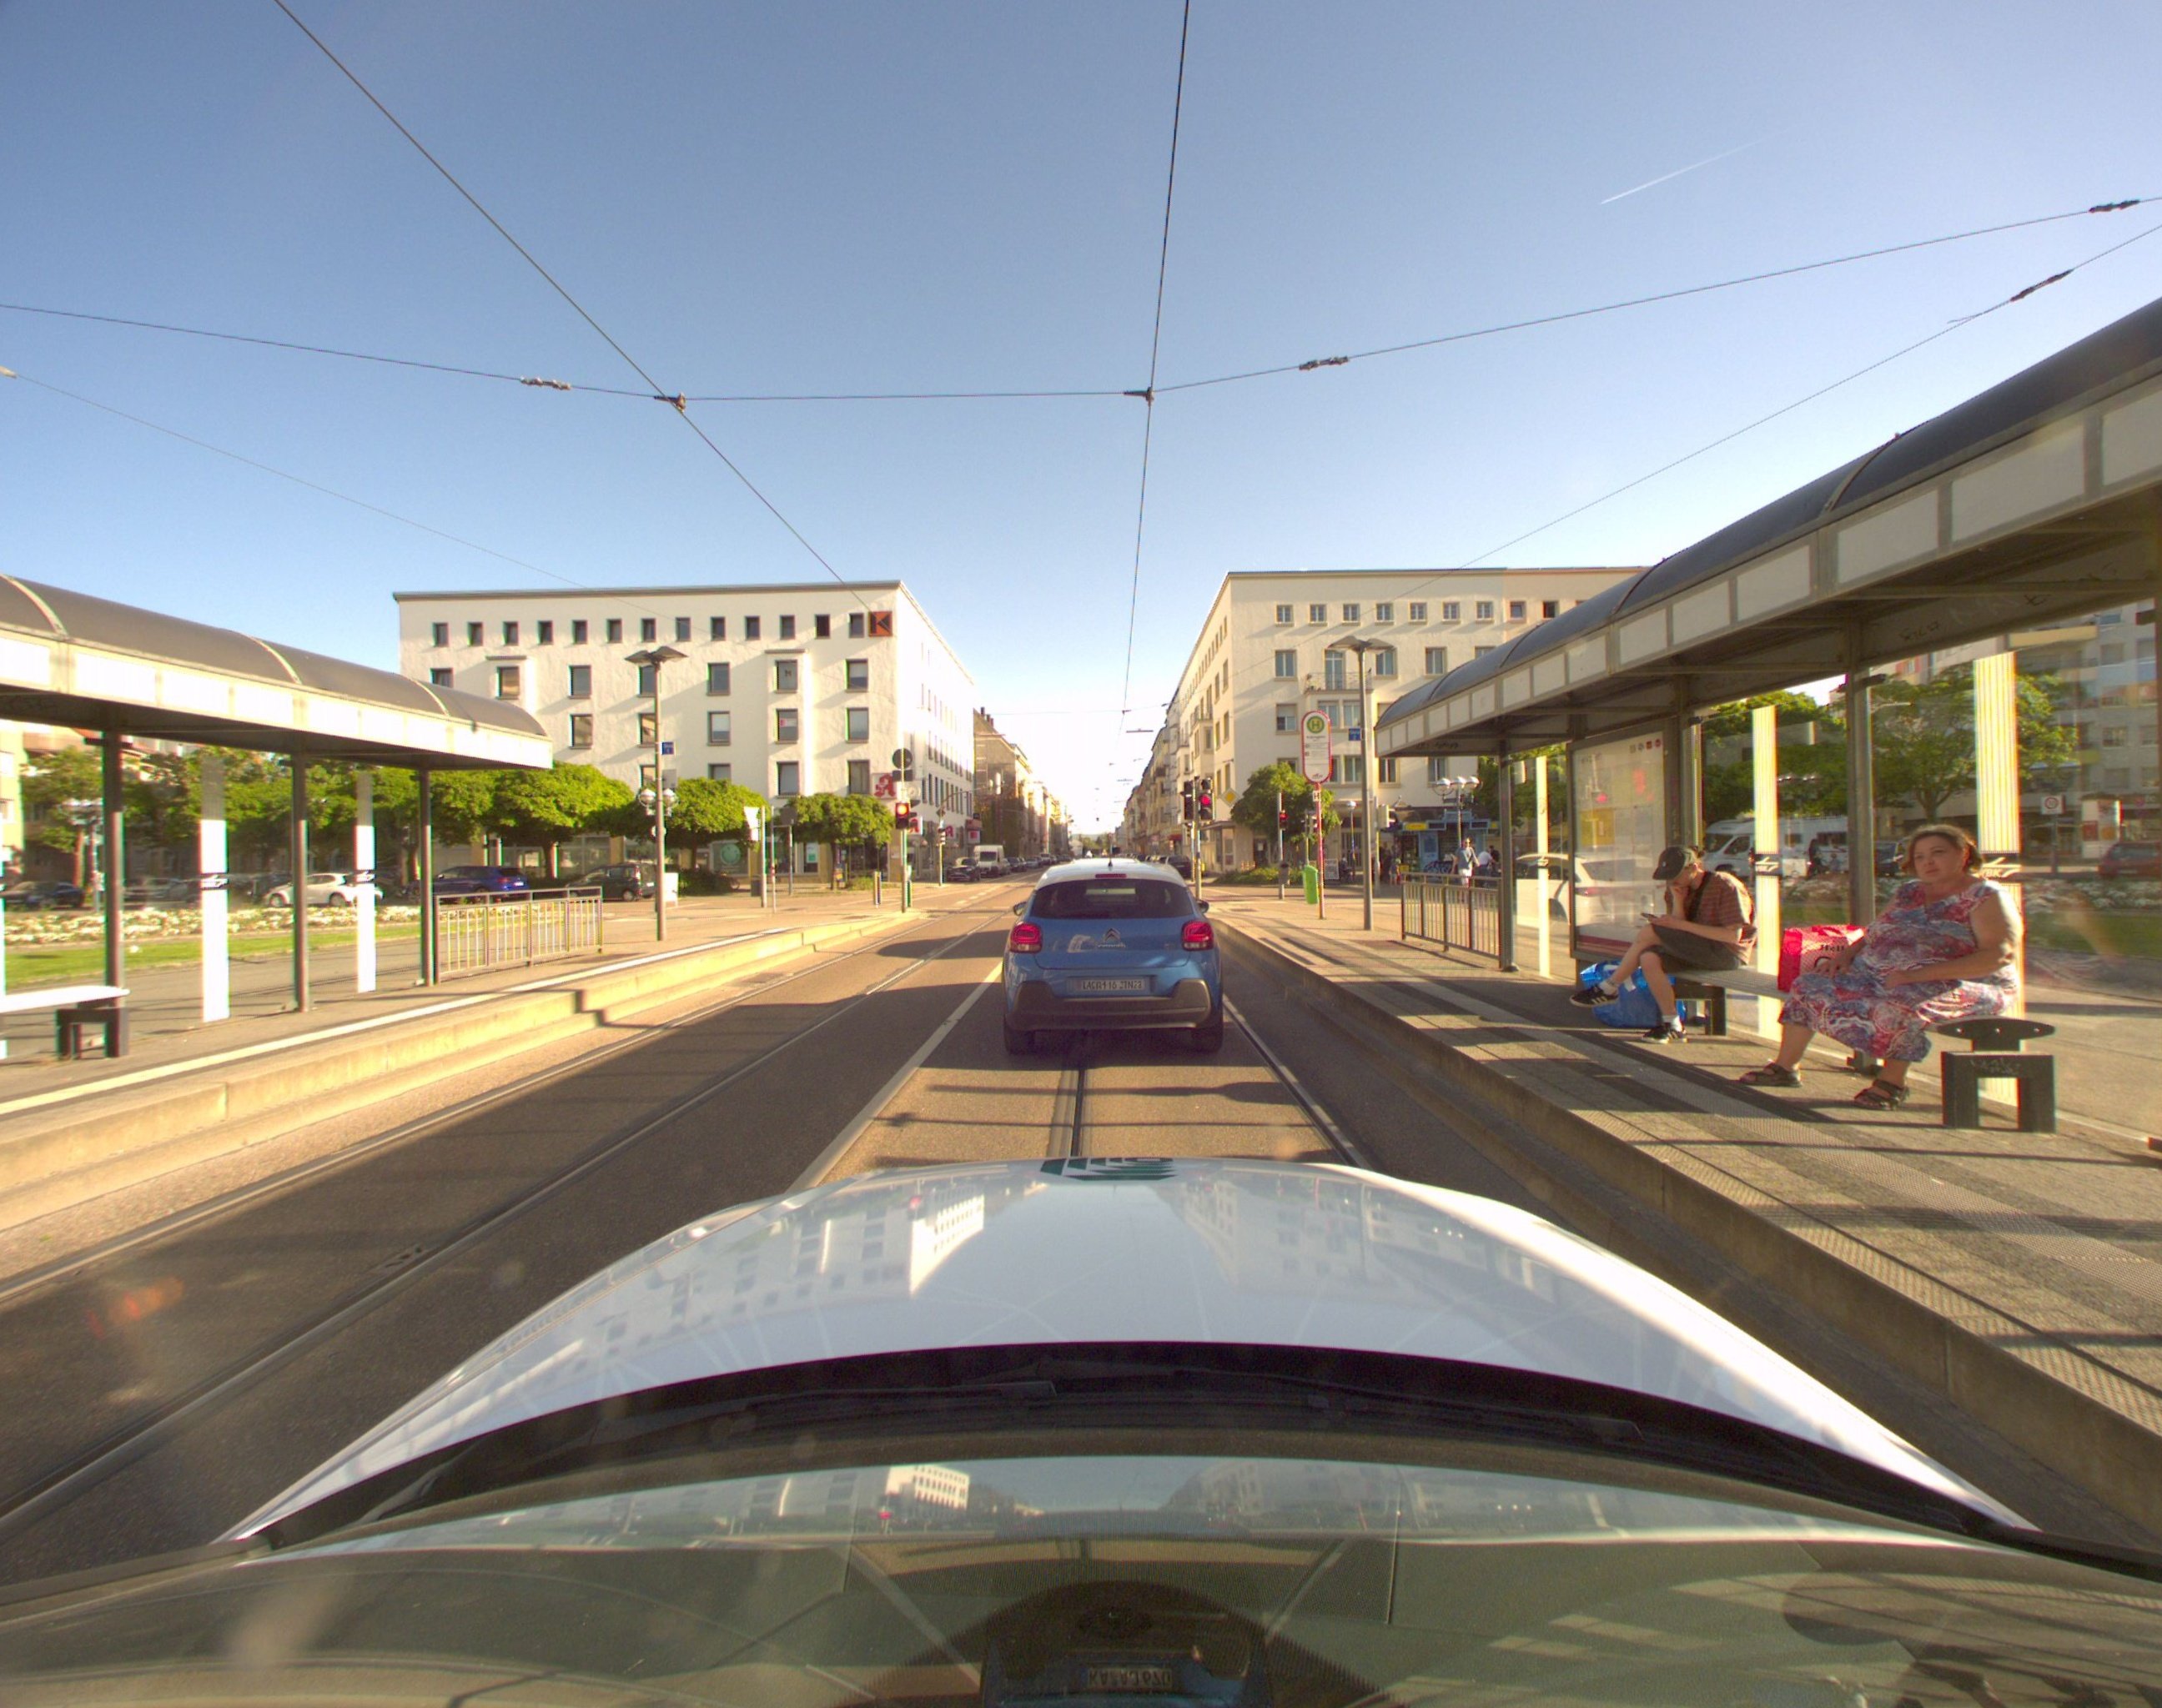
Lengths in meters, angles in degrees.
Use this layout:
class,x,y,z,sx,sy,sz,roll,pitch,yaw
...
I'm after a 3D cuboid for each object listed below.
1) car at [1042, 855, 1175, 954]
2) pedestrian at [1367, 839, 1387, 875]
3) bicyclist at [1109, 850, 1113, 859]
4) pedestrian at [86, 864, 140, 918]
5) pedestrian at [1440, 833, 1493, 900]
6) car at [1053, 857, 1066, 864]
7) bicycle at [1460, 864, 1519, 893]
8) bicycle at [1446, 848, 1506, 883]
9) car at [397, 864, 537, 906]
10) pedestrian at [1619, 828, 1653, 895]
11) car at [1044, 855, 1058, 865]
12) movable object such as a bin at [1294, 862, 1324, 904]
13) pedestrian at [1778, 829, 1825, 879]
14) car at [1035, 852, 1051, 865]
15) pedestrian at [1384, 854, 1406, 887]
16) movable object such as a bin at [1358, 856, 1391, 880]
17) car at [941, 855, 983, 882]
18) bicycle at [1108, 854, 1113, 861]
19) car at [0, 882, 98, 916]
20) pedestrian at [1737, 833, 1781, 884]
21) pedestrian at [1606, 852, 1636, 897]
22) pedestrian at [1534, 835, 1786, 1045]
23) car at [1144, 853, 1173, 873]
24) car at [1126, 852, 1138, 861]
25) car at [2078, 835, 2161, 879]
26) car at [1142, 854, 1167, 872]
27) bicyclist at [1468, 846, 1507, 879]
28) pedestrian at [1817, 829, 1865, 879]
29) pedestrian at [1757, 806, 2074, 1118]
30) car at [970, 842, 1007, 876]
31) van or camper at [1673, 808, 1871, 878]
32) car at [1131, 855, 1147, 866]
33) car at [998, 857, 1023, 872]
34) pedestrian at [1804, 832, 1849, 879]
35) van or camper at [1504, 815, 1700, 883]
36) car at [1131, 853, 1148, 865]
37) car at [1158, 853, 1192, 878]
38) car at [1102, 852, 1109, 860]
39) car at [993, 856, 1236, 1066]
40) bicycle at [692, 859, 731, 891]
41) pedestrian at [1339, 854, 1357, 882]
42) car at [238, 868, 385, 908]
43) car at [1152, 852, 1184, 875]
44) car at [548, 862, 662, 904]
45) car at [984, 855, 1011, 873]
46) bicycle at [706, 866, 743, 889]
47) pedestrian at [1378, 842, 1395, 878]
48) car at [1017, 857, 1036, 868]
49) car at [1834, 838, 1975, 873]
class,x,y,z,sx,sy,sz,roll,pitch,yaw
car,0.479,0.759,14.563,1.977,1.464,4.817,0,0,2
pedestrian,15.326,0.164,42.221,0.781,1.839,0.679,-1,0,5
bicyclist,6.075,0.102,166.779,0.806,2.014,0.923,0,-1,1
pedestrian,-33.931,1.284,28.559,0.938,1.817,0.872,-1,0,13
pedestrian,11.229,0.369,23.763,0.978,1.878,1.128,-1,-1,-1
car,-4.066,1.195,154.255,1.986,1.156,4.002,-1,0,2
bicycle,15.341,0.908,30.581,2.327,1.061,0.715,0,0,-26
bicycle,17.723,0.521,36.575,2.376,1.531,0.726,1,0,0
car,-27.182,1.352,36.172,4.591,1.662,1.999,-1,0,-1
pedestrian,14.741,0.202,21.635,0.554,1.745,0.528,0,-1,12
car,-5.100,1.004,136.976,1.946,1.552,3.942,0,-1,4
movable object such as a bin,4.356,0.547,15.557,0.447,0.786,0.489,-1,0,4
pedestrian,23.423,-0.001,26.486,0.897,1.585,0.663,-1,0,5
car,-5.870,0.712,127.103,1.997,2.014,4.694,0,-1,4
pedestrian,14.034,0.738,36.391,0.727,1.409,0.755,-1,3,2
movable object such as a bin,14.436,0.667,40.047,1.194,1.153,1.218,-1,0,2
car,-7.650,0.918,52.756,1.987,1.569,4.403,2,-1,1
bicycle,6.106,0.674,166.860,0.916,1.389,3.133,-1,0,2
car,-52.303,2.234,41.076,1.925,1.494,4.314,0,-1,-27
pedestrian,23.181,0.147,27.856,0.897,1.685,0.696,-1,0,5
pedestrian,14.098,0.536,21.272,0.466,1.169,0.559,0,-1,10
pedestrian,3.723,0.519,5.335,0.995,1.225,0.923,2,-1,1
car,5.951,0.690,62.953,1.986,1.501,4.002,-1,0,2
car,8.336,0.448,133.248,1.986,1.464,4.002,-1,0,2
car,38.549,0.067,29.041,3.983,1.486,1.995,-1,0,-7
car,6.564,0.791,72.899,1.986,1.464,4.002,-1,0,2
bicyclist,15.234,0.306,30.522,0.935,1.225,0.946,1,0,-26
pedestrian,24.614,-0.009,26.391,0.897,1.585,0.663,-1,0,5
pedestrian,3.912,0.472,3.877,0.855,1.334,0.623,2,-1,1
car,-7.118,0.370,63.092,2.078,2.542,6.206,0,0,1
van or camper,30.126,-0.465,35.705,6.375,2.839,2.381,-1,0,5
car,7.757,0.886,108.838,1.985,1.464,4.003,-1,0,3
car,-6.751,1.048,78.424,1.987,1.398,4.157,0,-1,1
pedestrian,25.595,0.049,27.973,0.897,1.585,0.663,-1,0,5
van or camper,22.861,-0.225,36.007,7.093,2.747,2.372,-1,1,2
car,7.301,0.640,102.087,1.986,1.464,4.507,-1,0,2
car,5.993,0.711,52.414,1.902,1.464,4.002,-1,0,2
car,6.279,0.507,208.597,1.986,1.772,4.002,-1,0,2
car,0.292,0.762,7.698,1.721,1.482,3.828,0,0,2
bicycle,-19.827,1.105,43.747,0.614,1.607,2.625,-1,0,6
pedestrian,12.747,0.660,38.920,0.733,1.316,0.631,-1,0,25
car,-33.512,1.463,35.565,4.591,1.606,1.855,-1,0,-1
car,6.079,0.656,57.314,1.986,1.464,4.002,-1,0,2
car,-21.241,1.270,36.430,3.973,1.706,1.826,-1,0,1
car,-7.148,0.877,69.782,1.881,1.496,3.563,0,-1,1
bicycle,-19.104,1.245,43.705,0.615,1.190,2.624,-1,0,5
pedestrian,15.508,0.305,41.357,0.650,1.839,0.660,-1,0,5
car,-6.918,1.074,103.573,1.987,1.325,3.923,0,-1,1
car,36.670,0.070,36.384,3.959,1.511,2.007,0,-1,13
